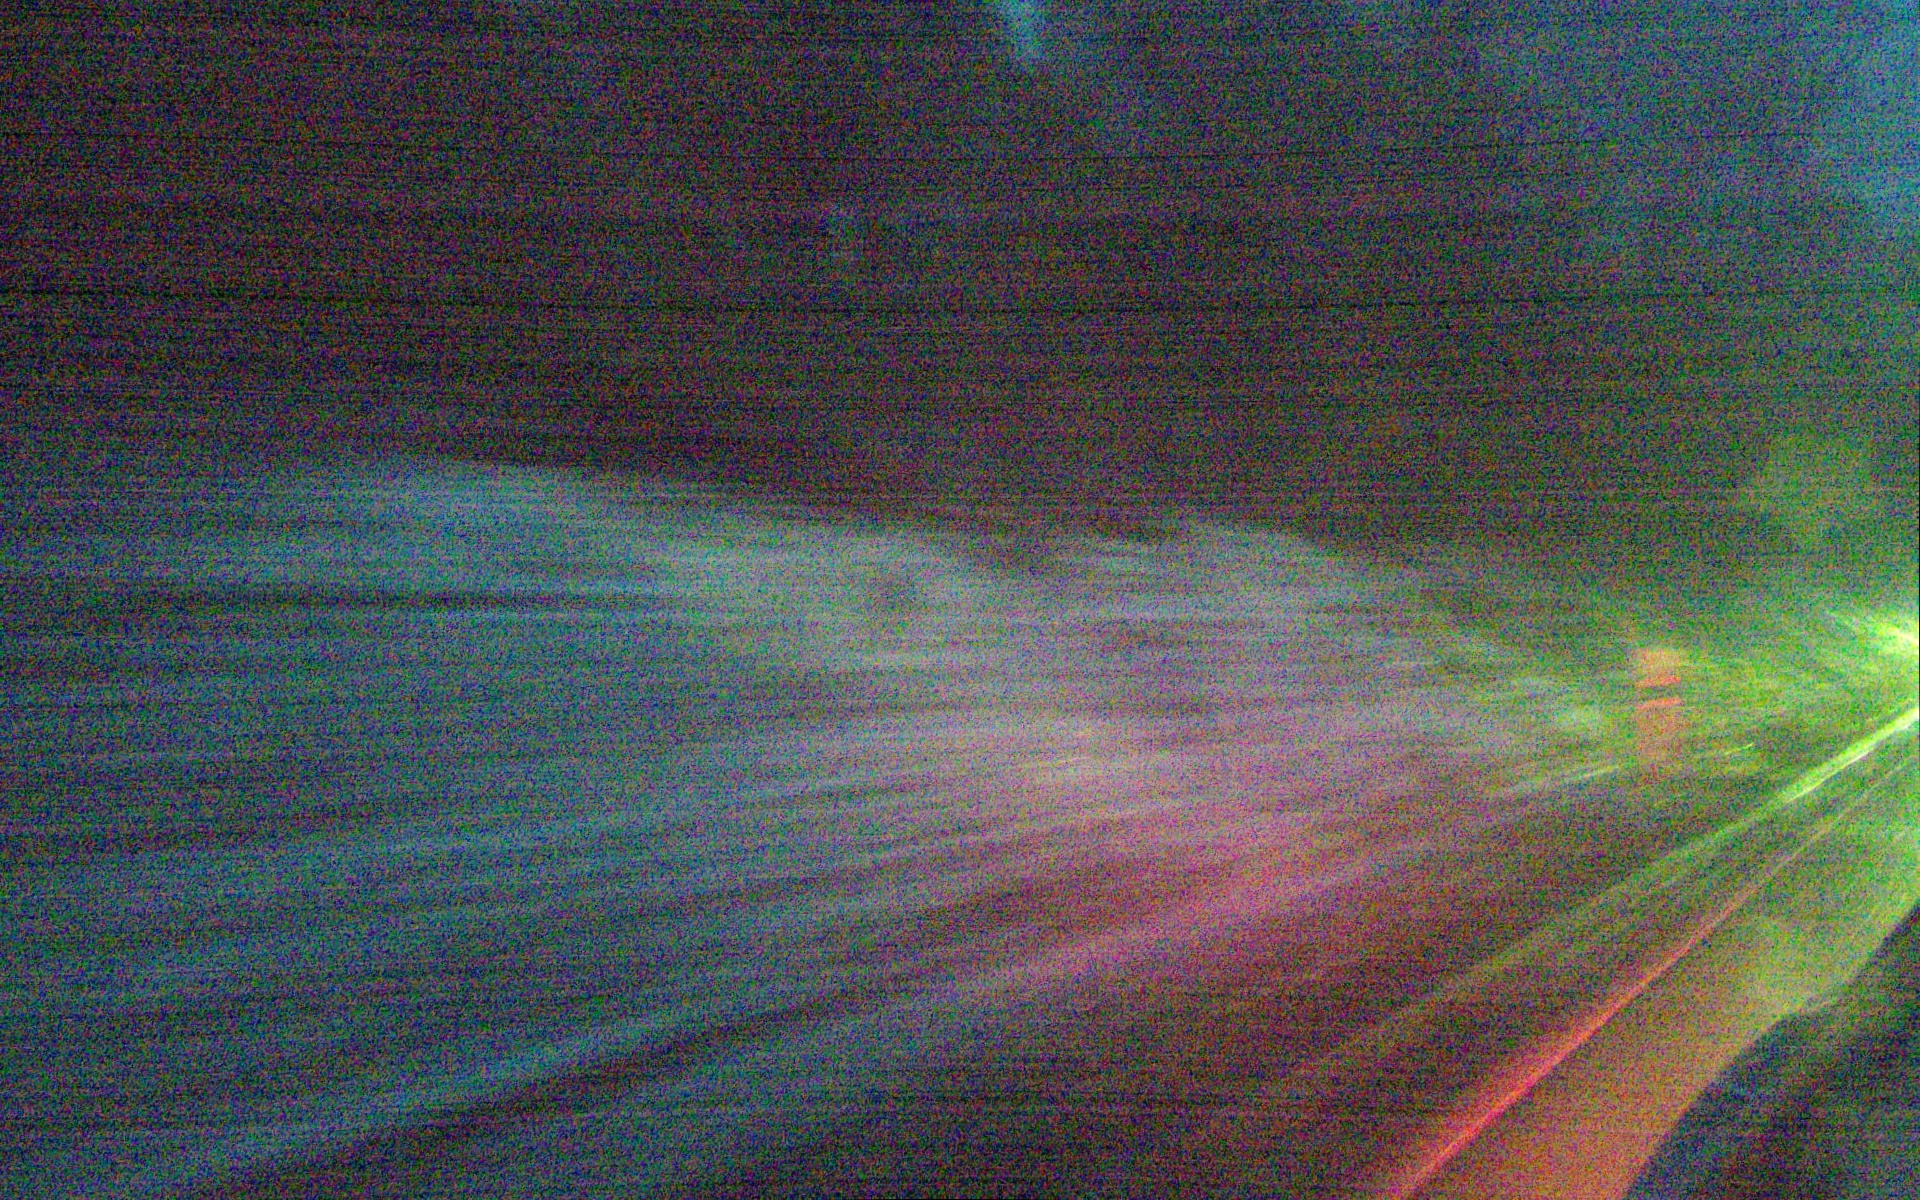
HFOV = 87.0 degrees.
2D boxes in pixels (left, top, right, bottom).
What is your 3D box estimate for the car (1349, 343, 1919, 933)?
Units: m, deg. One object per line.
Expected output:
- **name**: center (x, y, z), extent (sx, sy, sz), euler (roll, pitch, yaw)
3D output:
- **car**: center (4.259, 0.036, 5.589), extent (4.134, 2.038, 2.201), euler (-4, 2, -40)
